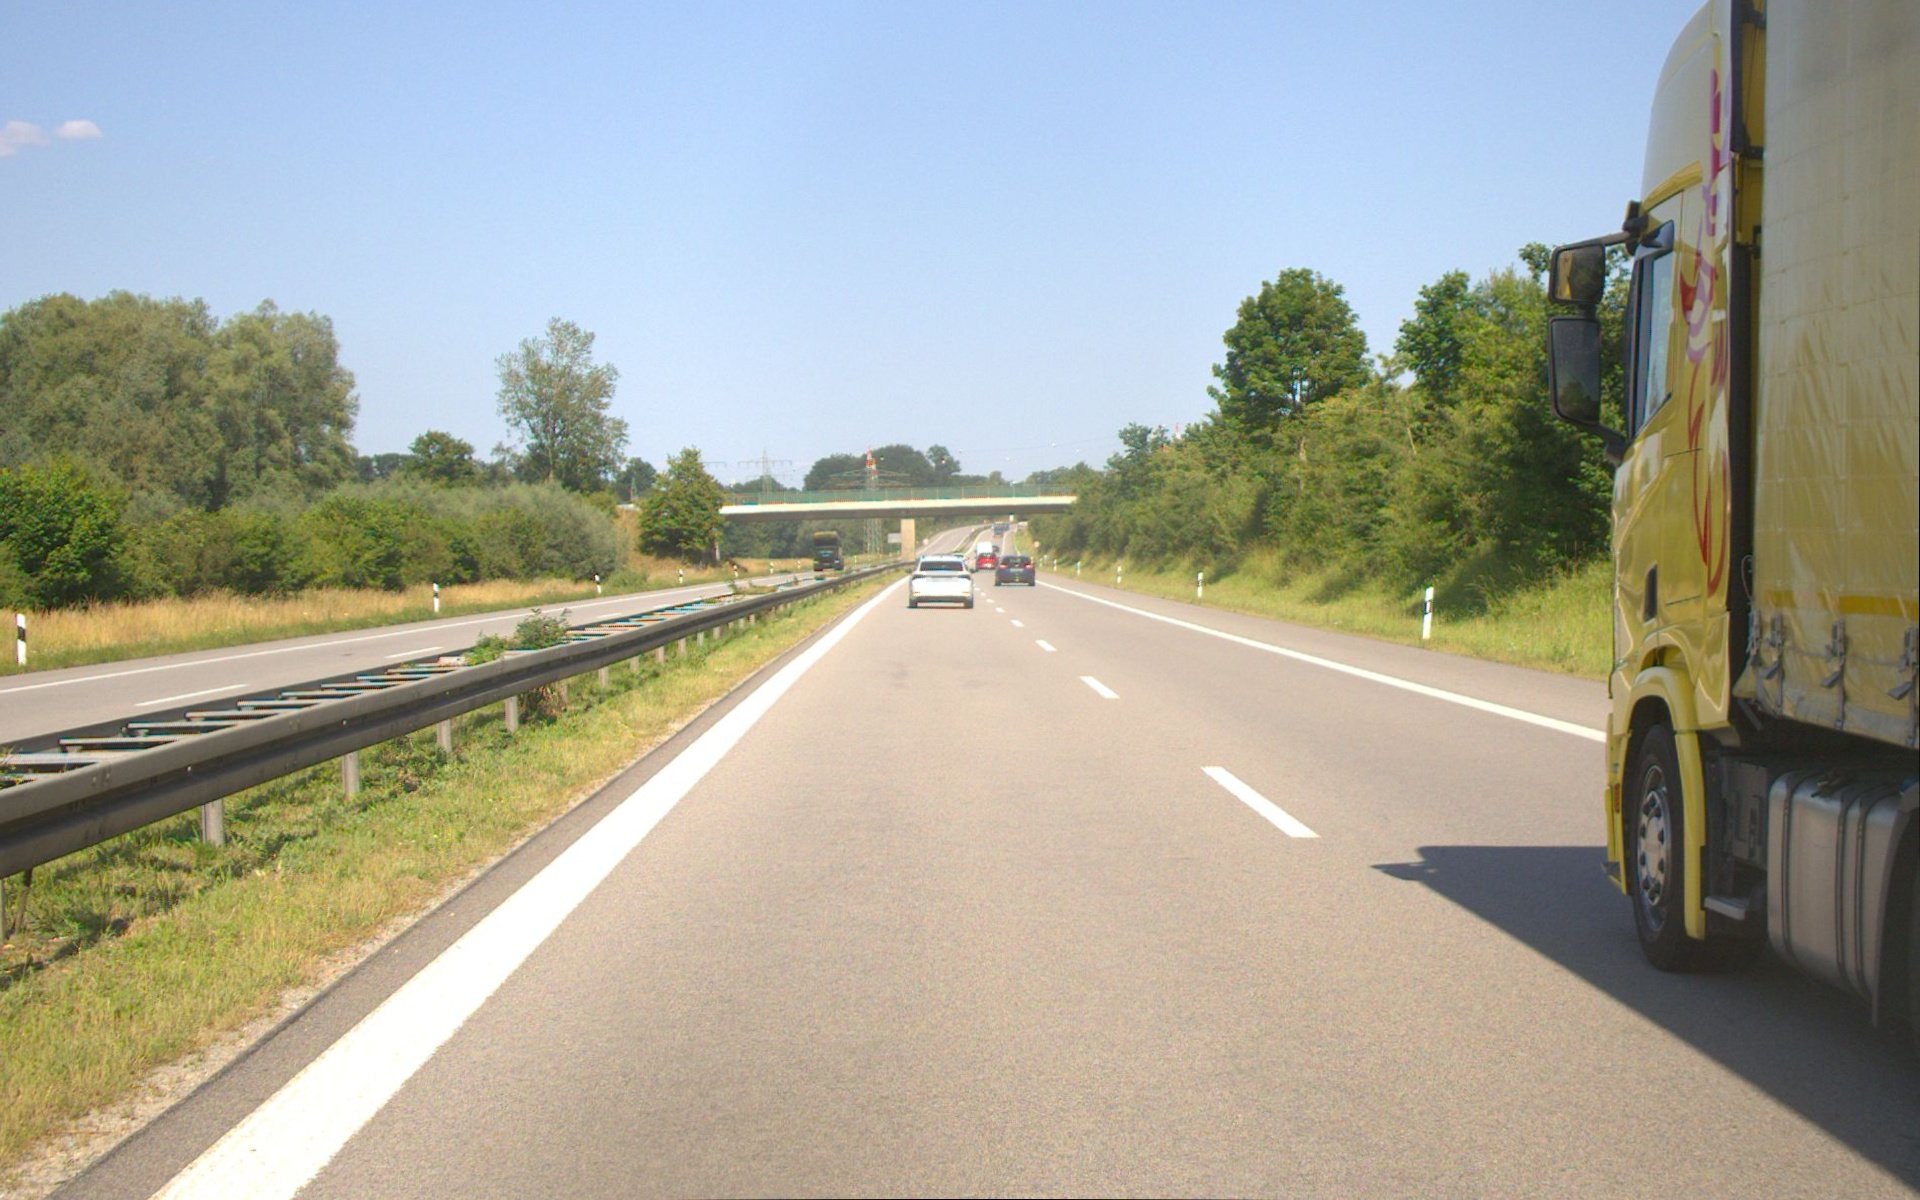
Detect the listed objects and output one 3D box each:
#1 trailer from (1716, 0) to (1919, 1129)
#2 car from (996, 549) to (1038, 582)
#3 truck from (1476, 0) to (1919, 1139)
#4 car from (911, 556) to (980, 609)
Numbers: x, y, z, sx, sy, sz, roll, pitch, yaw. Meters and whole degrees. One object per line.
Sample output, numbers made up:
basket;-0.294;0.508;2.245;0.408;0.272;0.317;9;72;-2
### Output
trailer;4.048;-0.649;3.931;3.184;4.045;13.187;1;1;-1
car;2.667;-1.611;161.736;1.843;1.515;4.000;1;1;0
truck;3.874;-0.733;11.145;3.168;4.100;6.389;1;1;-2
car;-0.409;-0.489;95.195;1.843;1.411;4.000;1;1;0
